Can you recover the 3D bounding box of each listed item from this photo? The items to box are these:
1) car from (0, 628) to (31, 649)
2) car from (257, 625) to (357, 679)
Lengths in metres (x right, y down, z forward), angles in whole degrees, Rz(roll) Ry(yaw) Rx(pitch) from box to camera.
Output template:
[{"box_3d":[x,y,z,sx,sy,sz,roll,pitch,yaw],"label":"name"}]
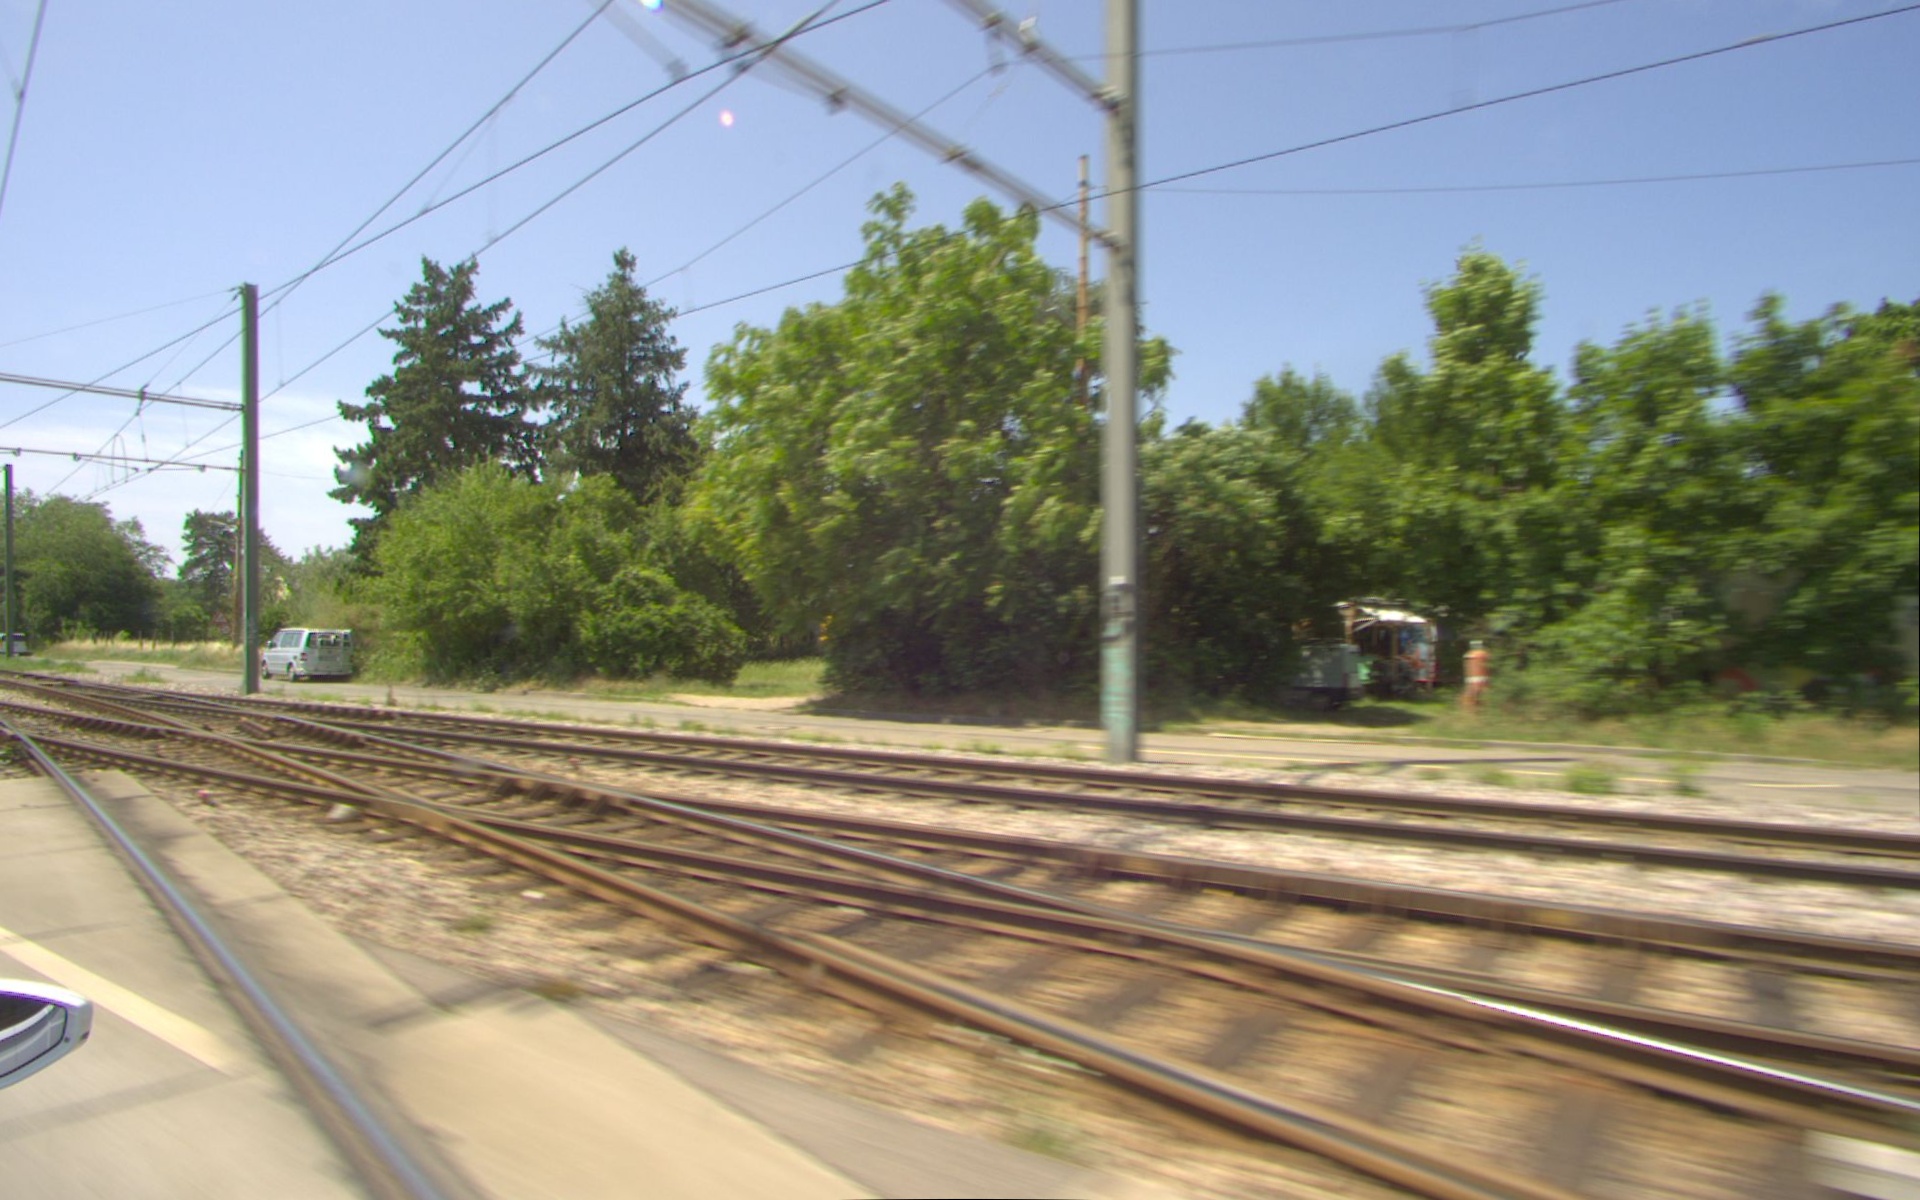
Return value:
[{"box_3d":[-83.208,3.391,87.801,4.739,1.825,1.984,-2,-2,40],"label":"car"},{"box_3d":[-25.028,1.980,38.308,5.014,1.906,2.025,-2,-2,43],"label":"car"}]
